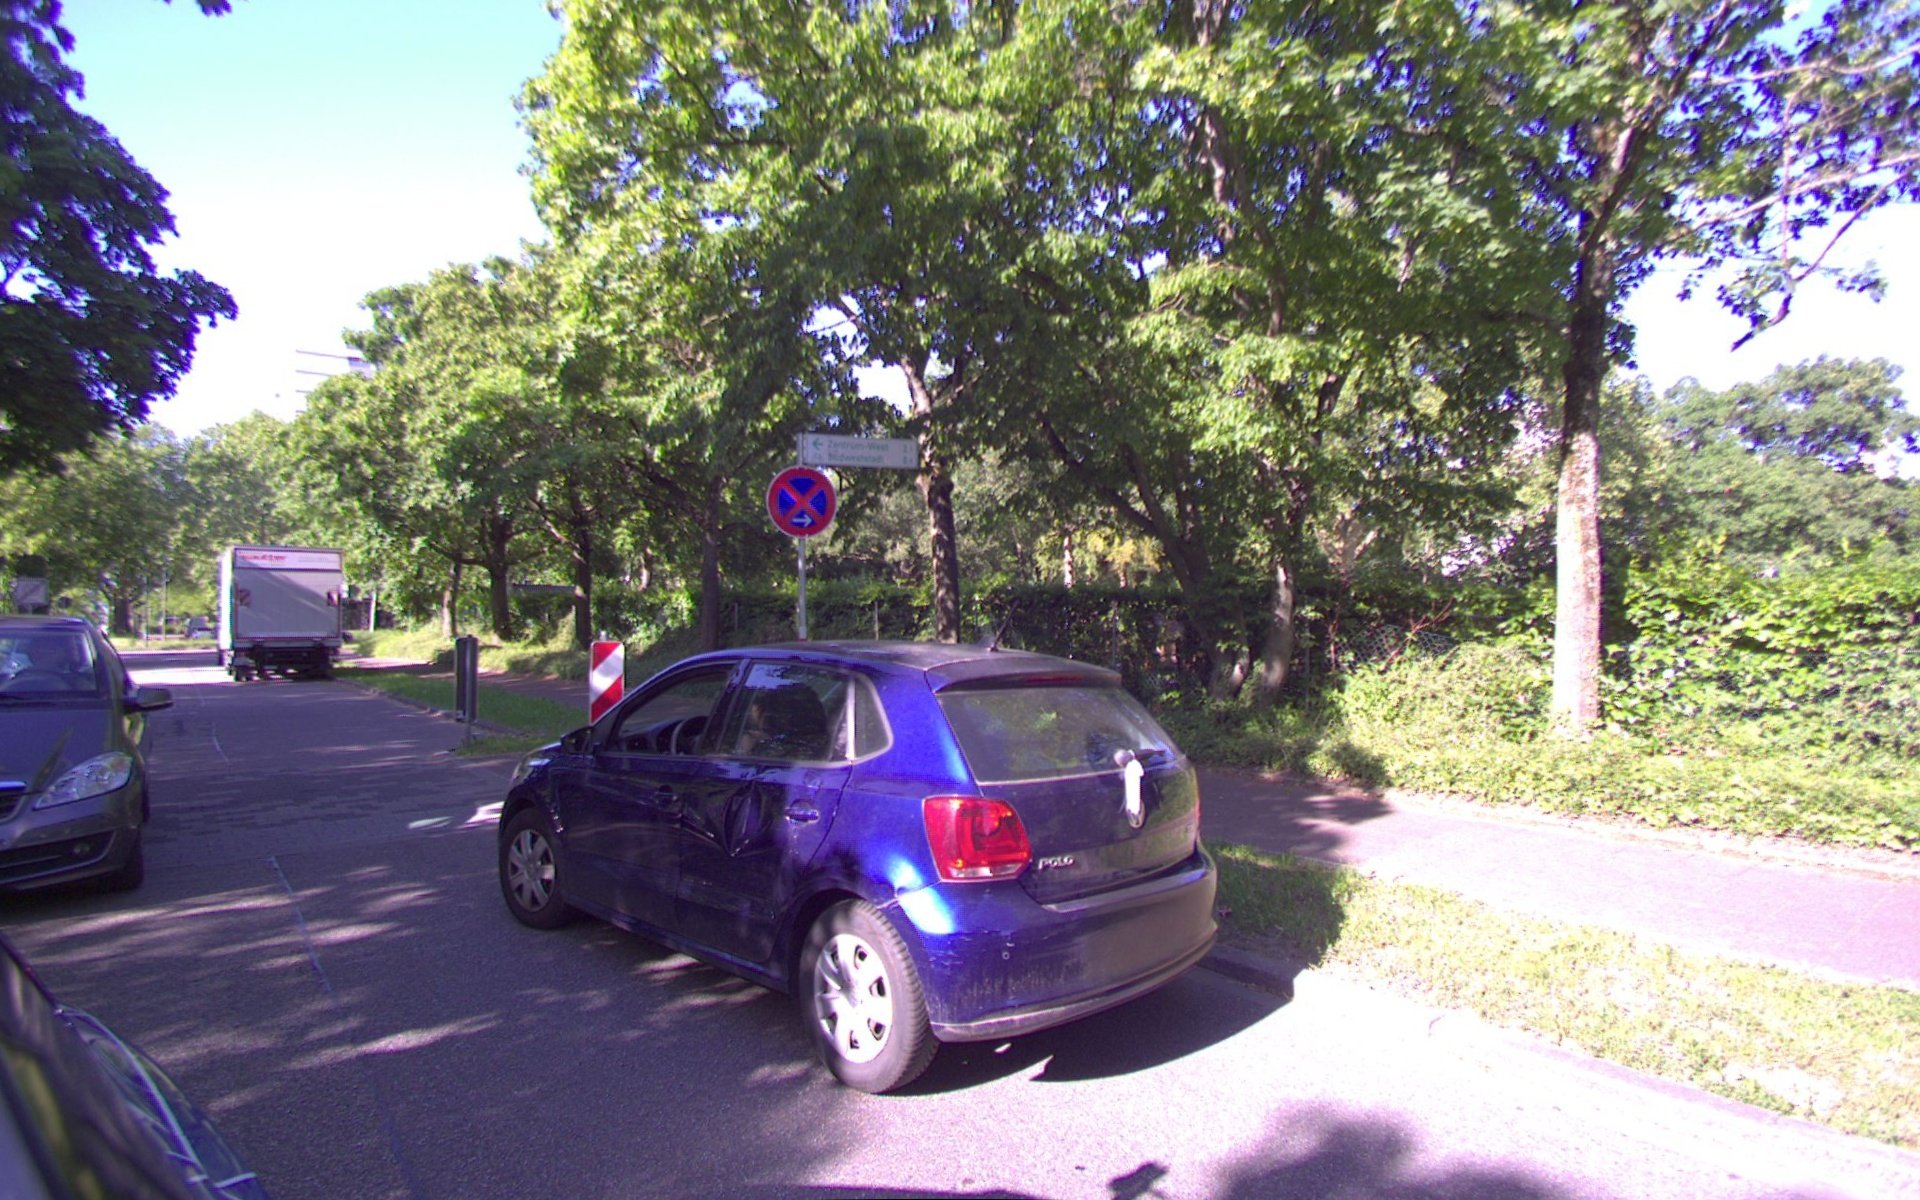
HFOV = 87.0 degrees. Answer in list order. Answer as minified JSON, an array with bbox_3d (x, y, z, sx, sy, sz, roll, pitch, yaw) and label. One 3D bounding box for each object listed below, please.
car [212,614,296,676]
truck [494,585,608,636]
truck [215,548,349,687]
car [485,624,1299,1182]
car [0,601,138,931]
[{"bbox_3d":[-26.825,1.656,38.360,2.092,2.112,6.595,0,-2,-39],"label":"car"},{"bbox_3d":[-17.283,0.482,42.832,3.937,2.029,2.207,2,-3,-40],"label":"truck"},{"bbox_3d":[-20.702,0.563,30.679,2.699,3.669,8.116,0,-2,-39],"label":"truck"},{"bbox_3d":[-0.586,0.849,4.493,3.653,1.437,1.582,-2,-3,45],"label":"car"},{"bbox_3d":[-6.210,0.854,6.241,1.708,1.599,4.006,0,-2,-40],"label":"car"}]
